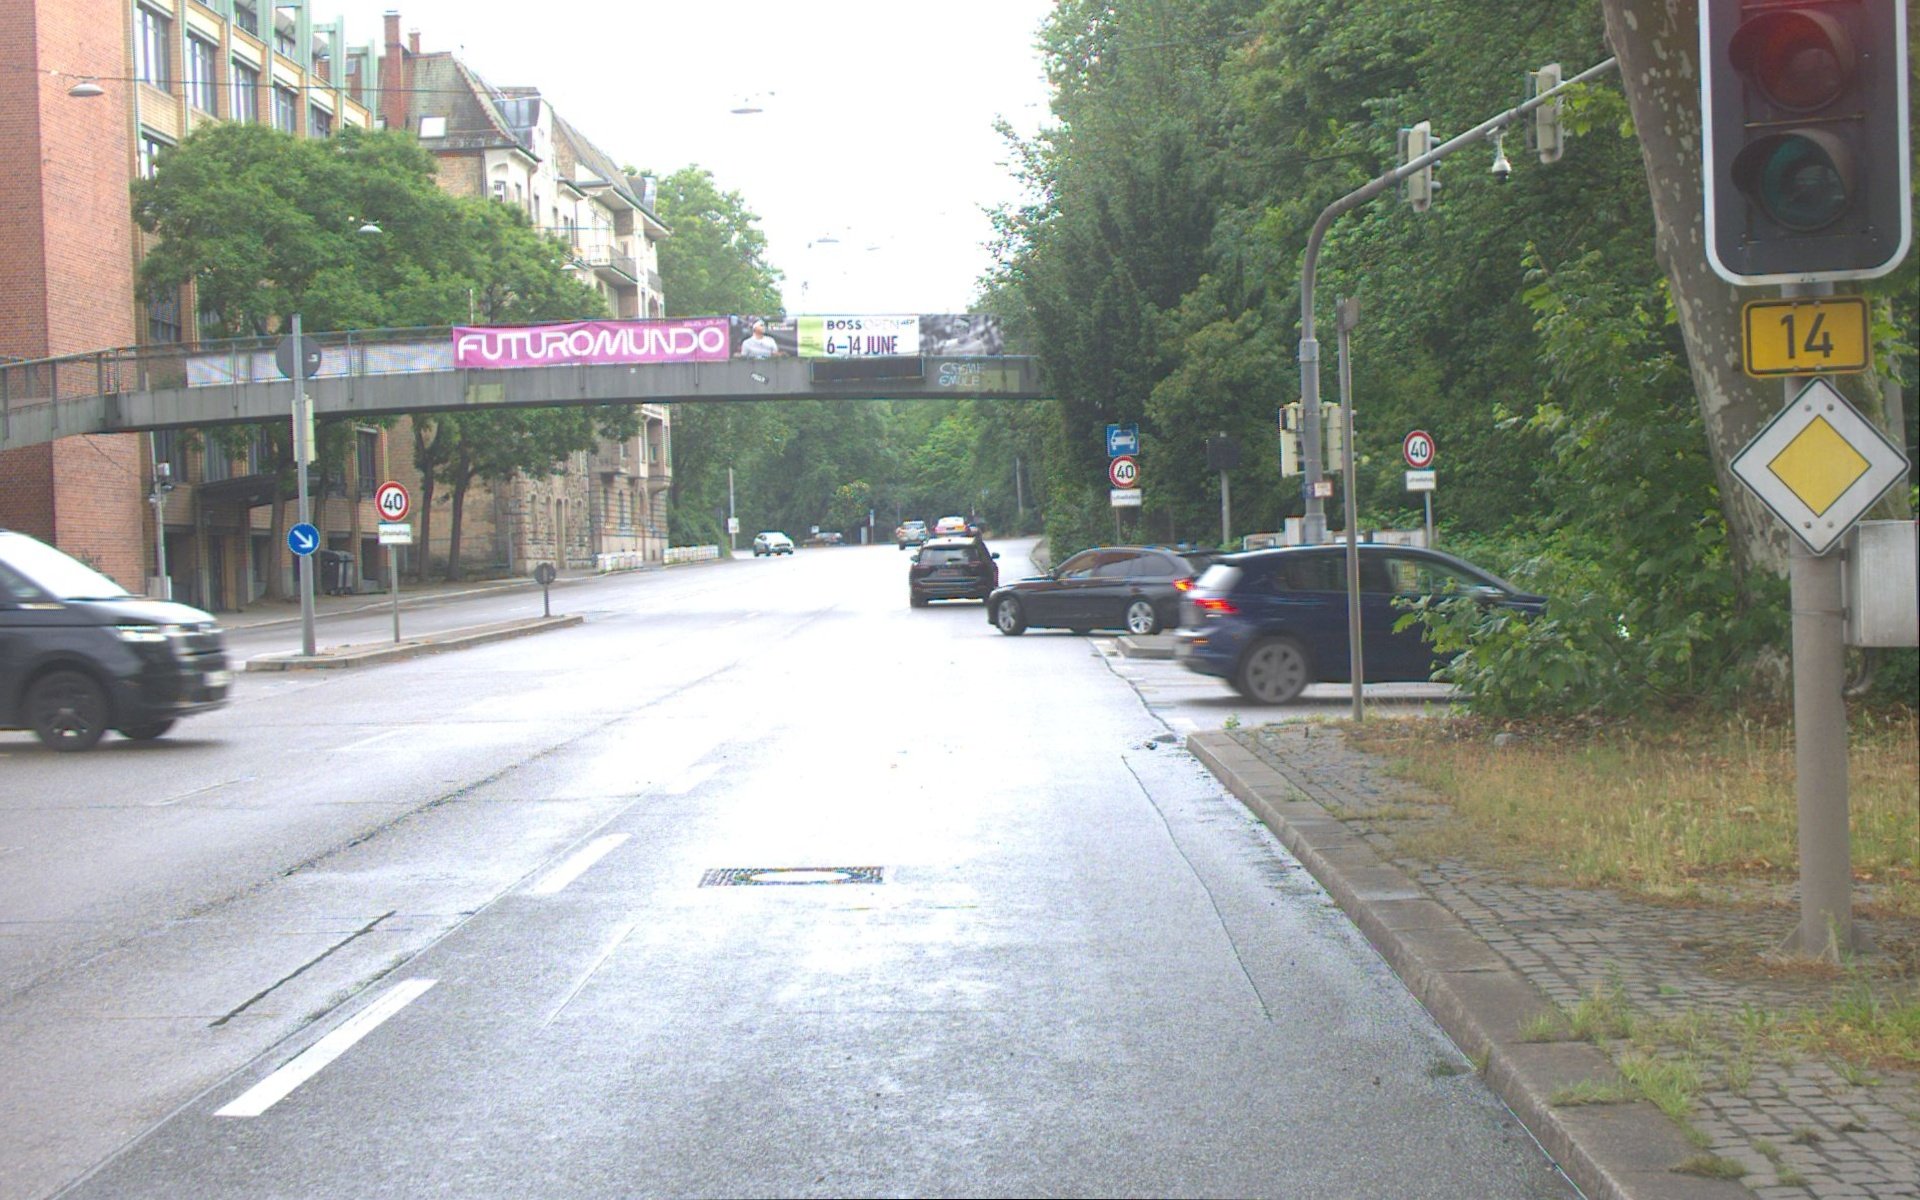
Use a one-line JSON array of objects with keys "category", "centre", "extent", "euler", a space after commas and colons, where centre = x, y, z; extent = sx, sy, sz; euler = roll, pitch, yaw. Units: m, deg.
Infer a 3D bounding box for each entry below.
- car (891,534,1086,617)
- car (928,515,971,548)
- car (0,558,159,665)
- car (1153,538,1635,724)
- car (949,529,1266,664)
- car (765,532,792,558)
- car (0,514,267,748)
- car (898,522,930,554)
[{"category": "car", "centre": [0.547, -0.515, 71.135], "extent": [1.875, 1.632, 4.525], "euler": [-2, 1, -32]}, {"category": "car", "centre": [-0.587, -3.649, 183.342], "extent": [2.120, 1.729, 4.199], "euler": [0, 2, -3]}, {"category": "car", "centre": [-13.674, 0.156, 52.300], "extent": [1.993, 1.514, 4.000], "euler": [-2, 1, 0]}, {"category": "car", "centre": [3.972, 0.270, 31.825], "extent": [4.135, 1.441, 1.585], "euler": [-3, 1, -3]}, {"category": "car", "centre": [2.284, -0.057, 53.490], "extent": [4.345, 1.829, 2.132], "euler": [-3, 1, 30]}, {"category": "car", "centre": [-12.608, -3.807, 238.642], "extent": [1.619, 1.691, 3.549], "euler": [-3, 1, -1]}, {"category": "car", "centre": [-8.501, 0.258, 28.377], "extent": [5.077, 1.839, 2.000], "euler": [-1, 1, 5]}, {"category": "car", "centre": [-2.672, -3.595, 199.737], "extent": [1.763, 1.691, 3.706], "euler": [-3, 1, -1]}]
